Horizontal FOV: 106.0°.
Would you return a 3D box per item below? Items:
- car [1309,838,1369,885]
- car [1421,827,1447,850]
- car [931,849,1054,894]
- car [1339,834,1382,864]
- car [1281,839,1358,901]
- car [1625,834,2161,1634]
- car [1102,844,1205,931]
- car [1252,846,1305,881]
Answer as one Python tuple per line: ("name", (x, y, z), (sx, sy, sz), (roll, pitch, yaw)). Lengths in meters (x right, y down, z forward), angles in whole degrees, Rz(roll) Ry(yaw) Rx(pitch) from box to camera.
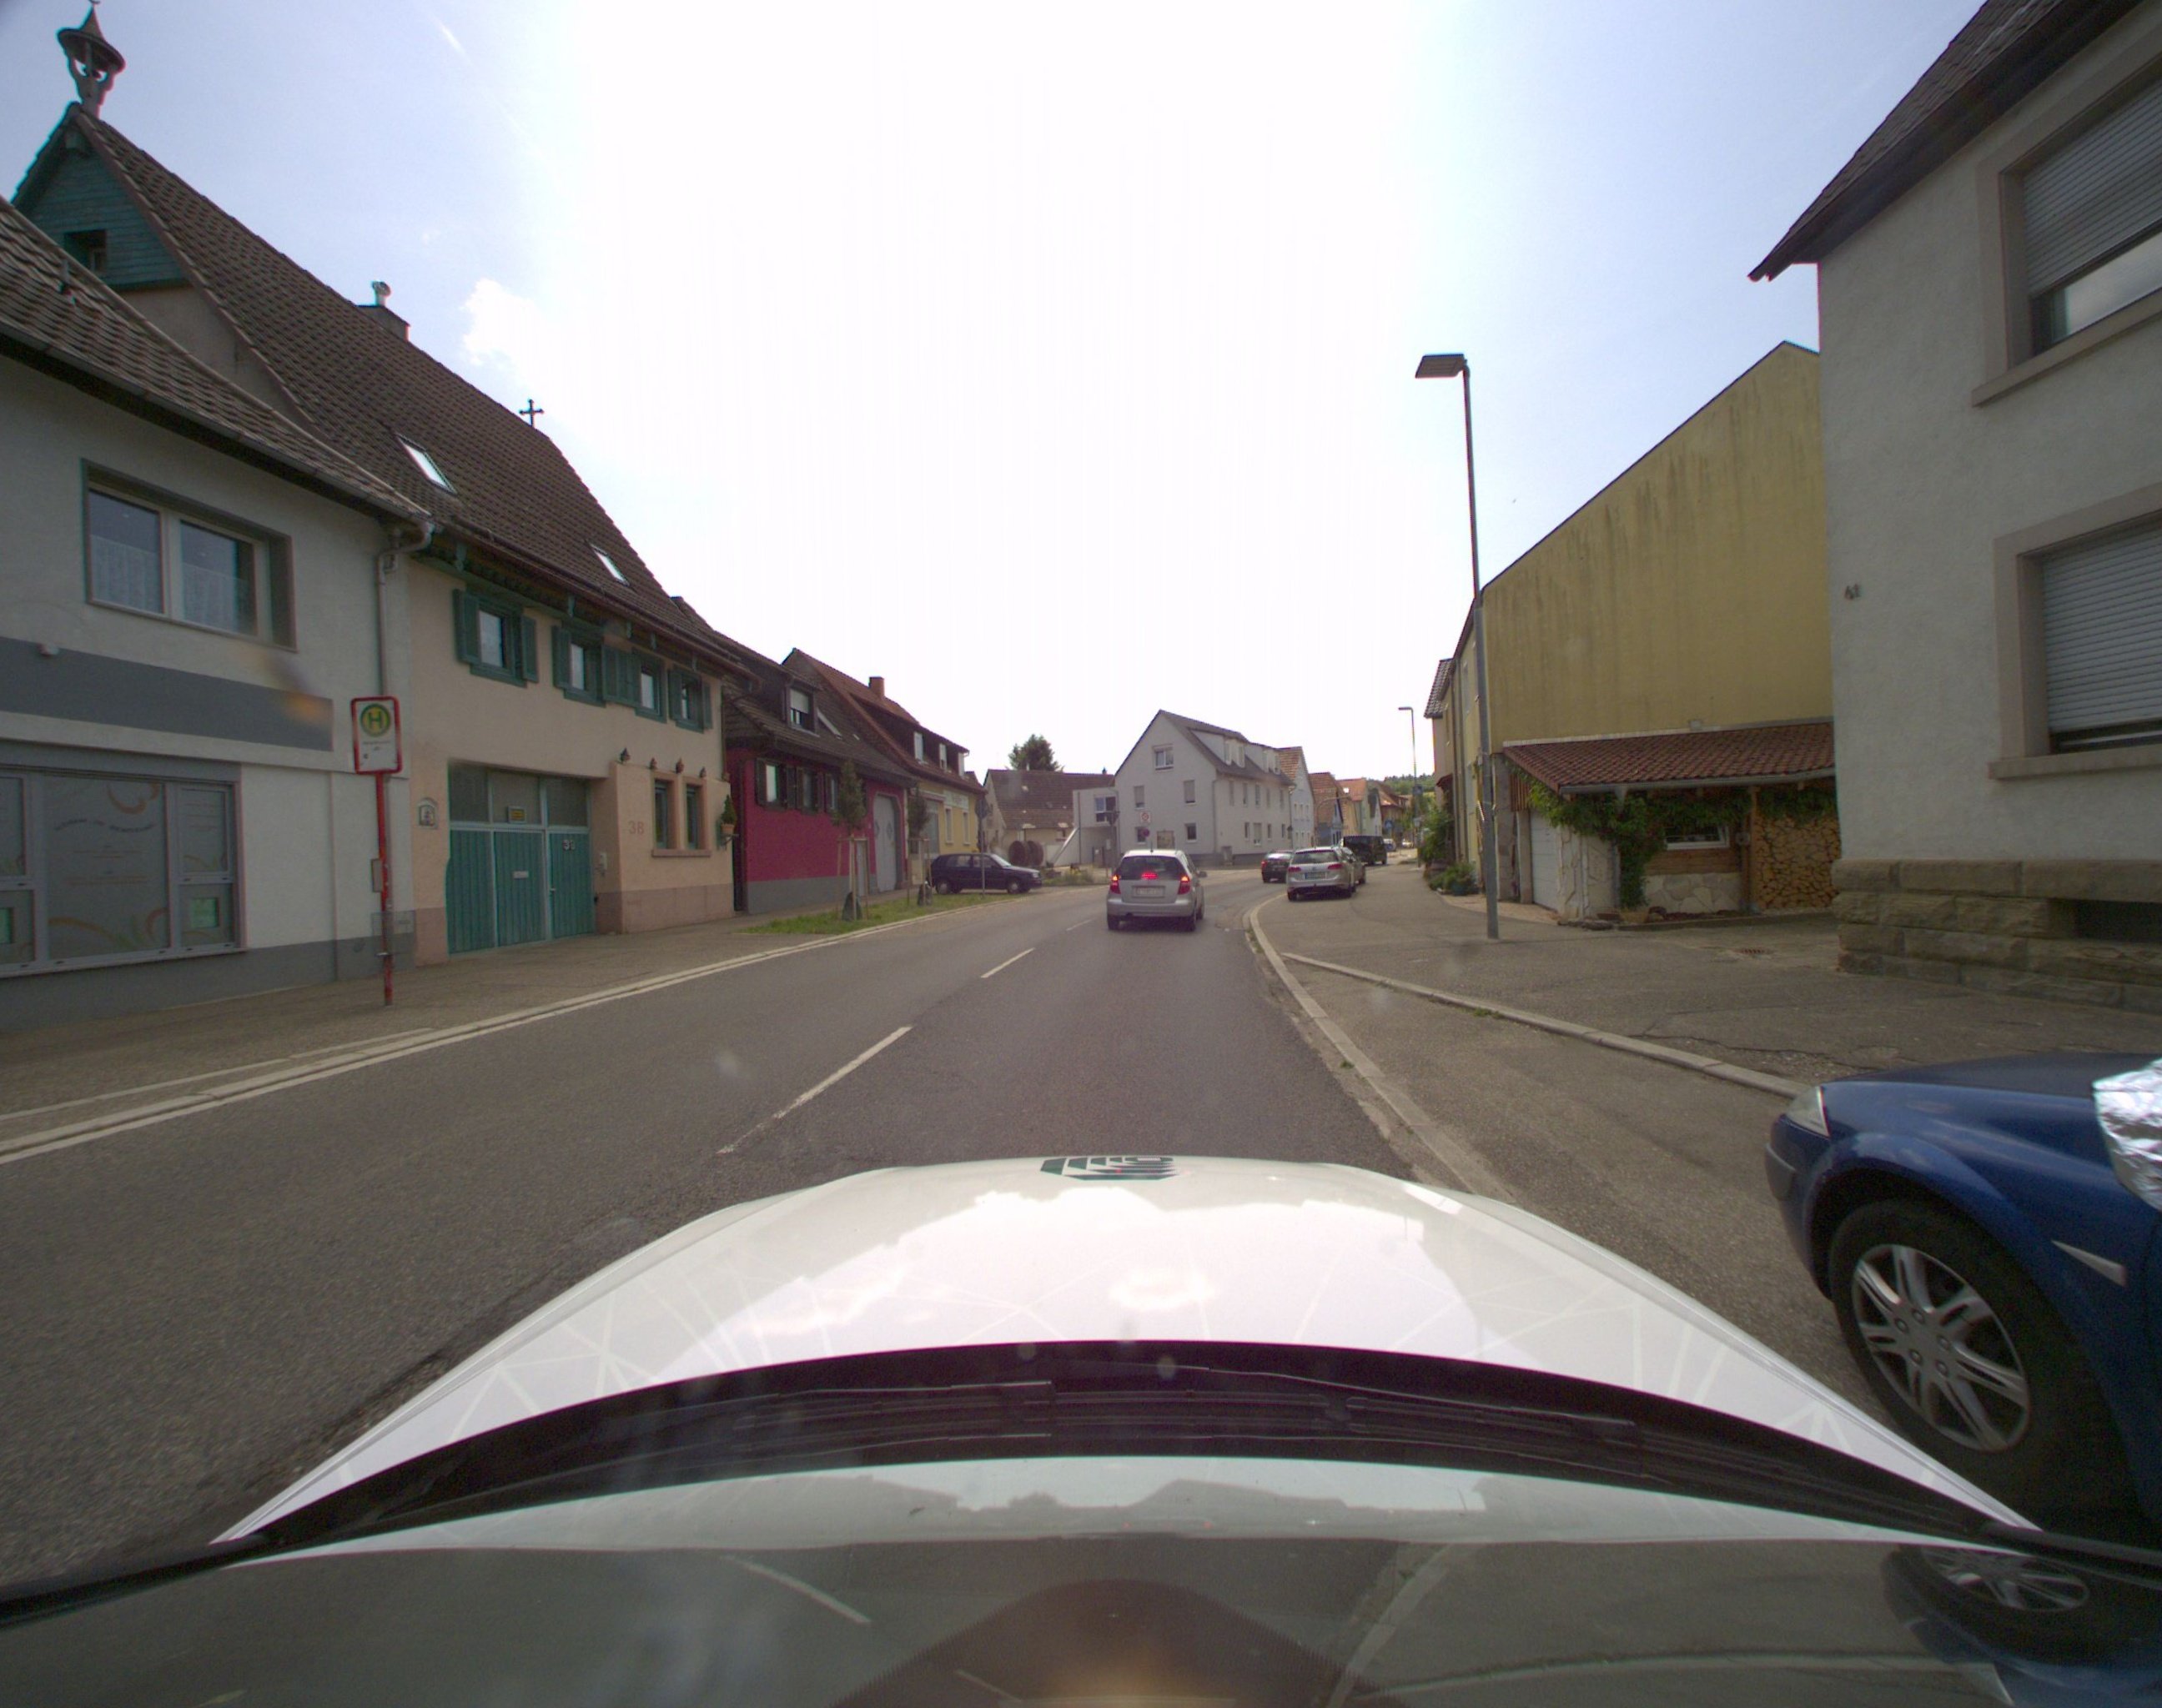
("car", (9.238, 0.282, 29.105), (1.869, 1.530, 4.019), (-1, -1, 19))
("car", (34.313, -1.475, 79.062), (1.975, 2.014, 4.024), (-1, -1, 28))
("car", (-3.013, 0.589, 28.180), (3.948, 1.464, 1.724), (-1, 0, 5))
("car", (17.998, -0.267, 52.316), (1.975, 1.816, 4.024), (-1, -1, 28))
("car", (7.069, 0.408, 23.912), (1.869, 1.530, 4.356), (-5, -1, 18))
("car", (2.702, 0.628, 0.793), (1.716, 1.385, 4.001), (-3, -1, 2))
("car", (1.654, 0.615, 17.374), (1.799, 1.643, 3.741), (0, 1, 11))
("car", (8.698, 0.426, 35.639), (1.735, 1.416, 4.020), (-1, -1, 20))
